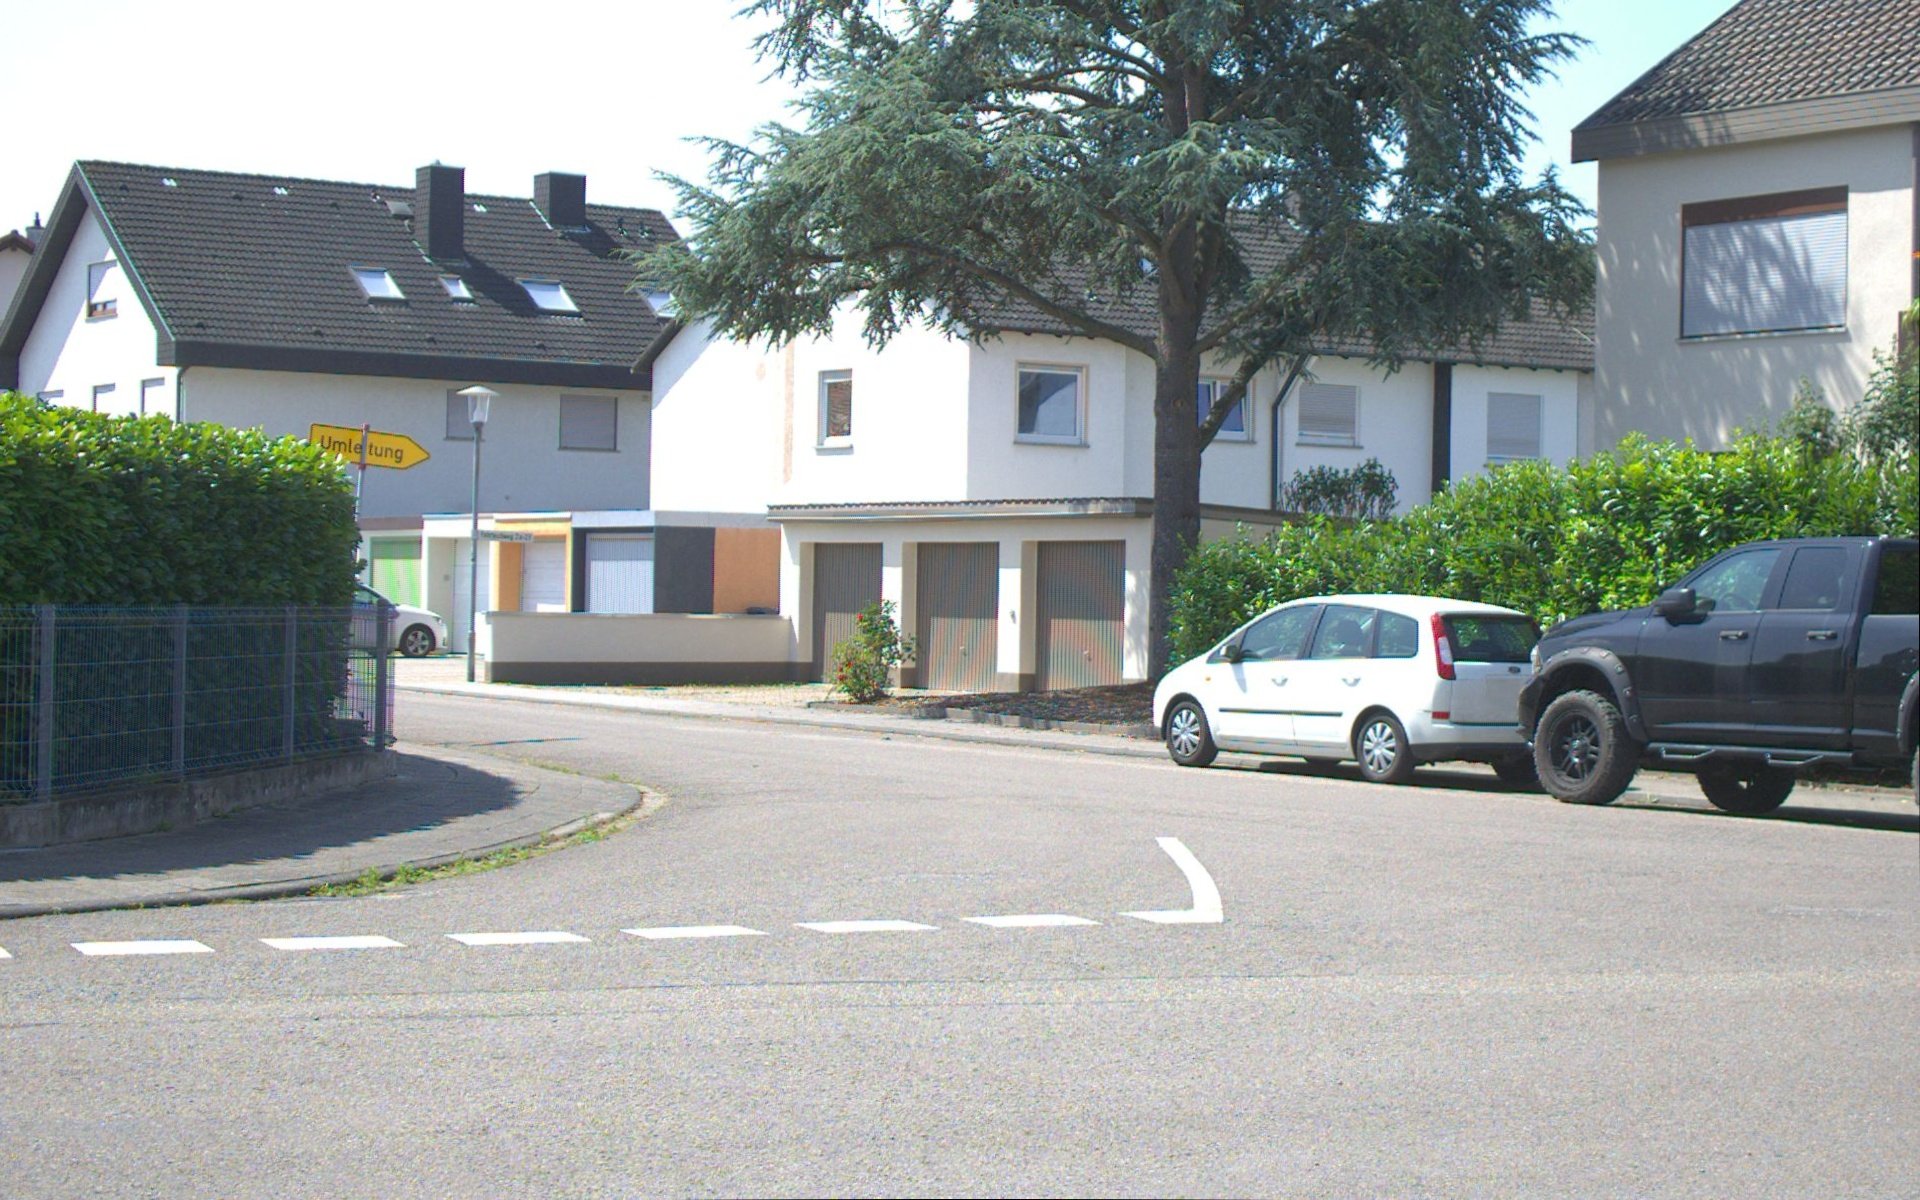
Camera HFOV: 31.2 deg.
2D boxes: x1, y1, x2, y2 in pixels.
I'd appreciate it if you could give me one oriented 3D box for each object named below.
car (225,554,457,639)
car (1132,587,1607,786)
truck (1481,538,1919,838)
[{"bbox_3d":[-10.952,-0.057,60.887,3.599,1.404,1.784,1,0,-33],"label":"car"},{"bbox_3d":[3.516,0.716,30.211,1.798,1.558,4.143,1,0,-35],"label":"car"},{"bbox_3d":[6.651,0.591,24.723,2.364,2.007,5.712,1,0,-36],"label":"truck"}]
